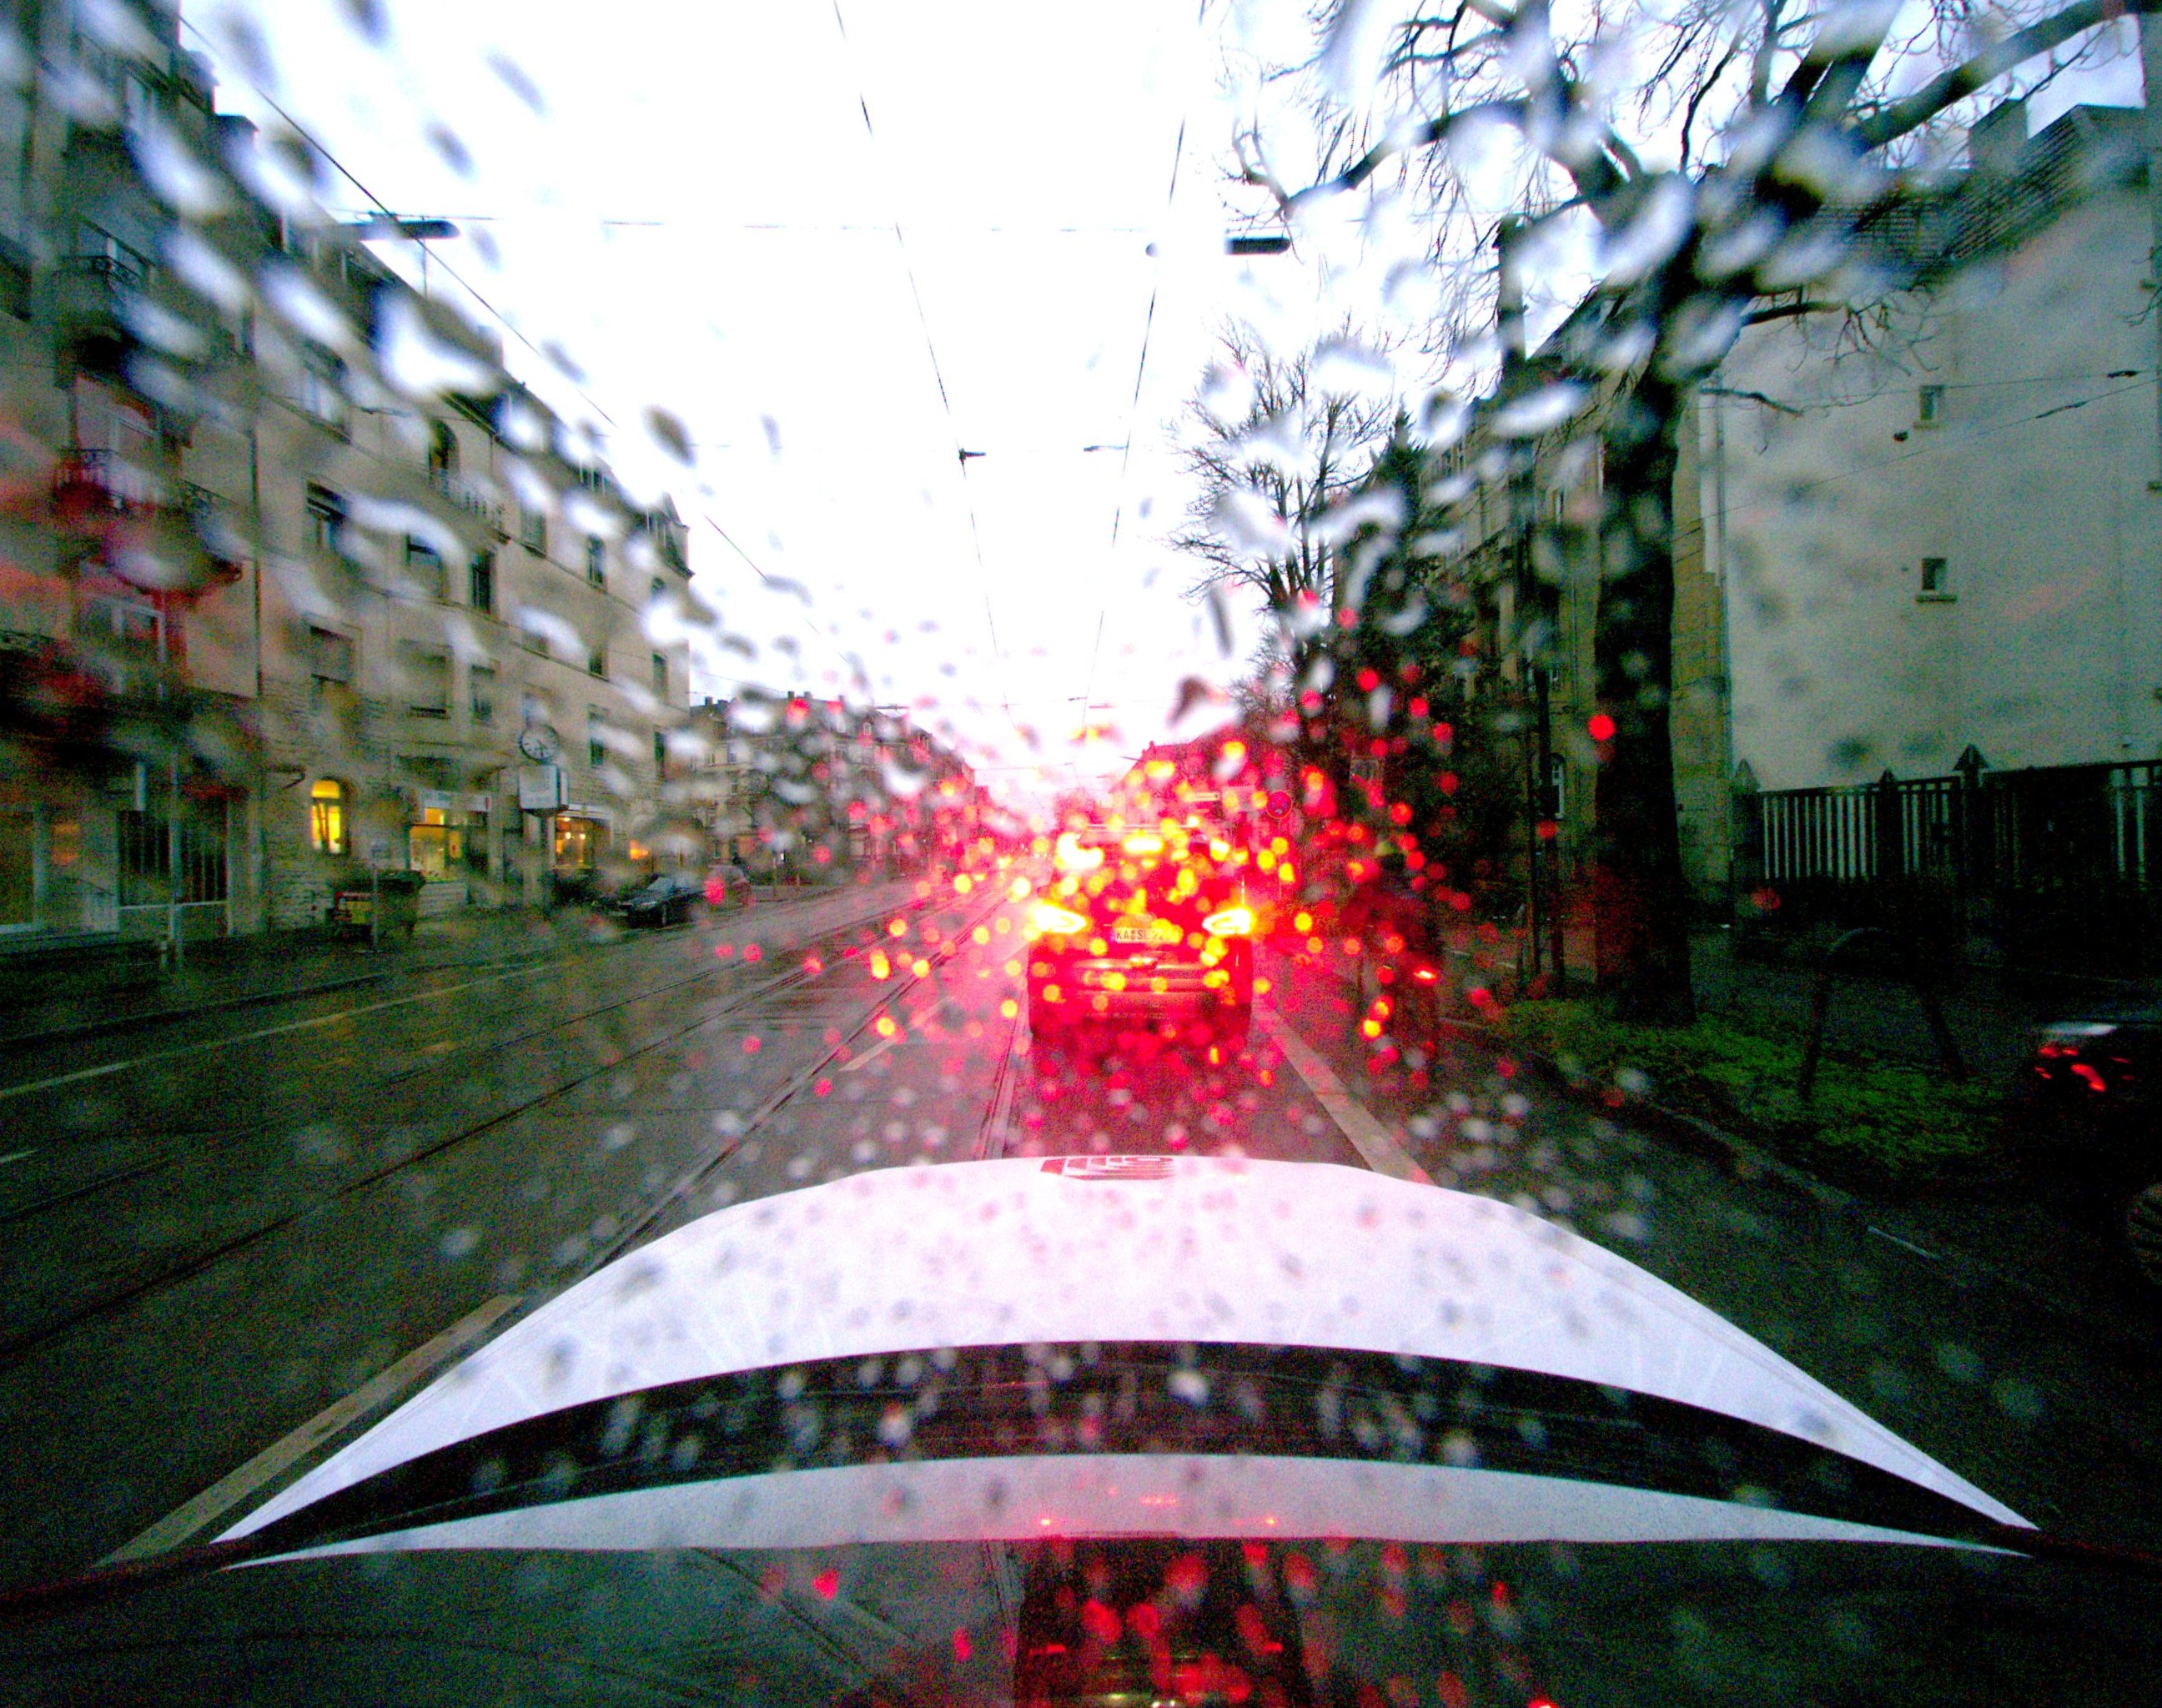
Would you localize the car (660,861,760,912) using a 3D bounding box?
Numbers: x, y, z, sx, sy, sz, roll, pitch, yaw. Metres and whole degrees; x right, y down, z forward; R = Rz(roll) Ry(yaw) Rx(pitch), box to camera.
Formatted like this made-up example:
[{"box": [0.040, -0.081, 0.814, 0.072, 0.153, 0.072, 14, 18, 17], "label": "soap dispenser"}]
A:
[{"box": [-13.146, 1.117, 29.134, 2.035, 1.551, 4.022, 2, 0, -7], "label": "car"}]

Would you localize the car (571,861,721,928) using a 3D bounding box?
[{"box": [-12.307, 1.085, 23.448, 1.982, 1.645, 4.624, 3, -1, -4], "label": "car"}]

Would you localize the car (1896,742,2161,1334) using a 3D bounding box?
[{"box": [4.457, 0.555, 0.907, 2.025, 1.875, 4.960, -2, 0, -2], "label": "car"}]

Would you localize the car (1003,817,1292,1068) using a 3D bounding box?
[{"box": [0.517, 0.638, 8.268, 2.096, 1.816, 4.661, 0, 0, 1], "label": "car"}]

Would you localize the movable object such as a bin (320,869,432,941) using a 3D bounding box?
[{"box": [-14.948, 1.058, 17.316, 1.264, 1.420, 1.249, -1, 0, -1], "label": "movable object such as a bin"}]

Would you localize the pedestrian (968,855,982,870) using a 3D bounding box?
[{"box": [-9.034, 0.711, 69.274, 1.044, 1.200, 0.884, -1, -1, -1], "label": "pedestrian"}]

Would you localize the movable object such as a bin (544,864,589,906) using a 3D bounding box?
[{"box": [-17.664, 1.044, 27.983, 0.896, 1.377, 1.006, -1, 0, -2], "label": "movable object such as a bin"}]

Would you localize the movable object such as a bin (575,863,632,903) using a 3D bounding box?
[{"box": [-17.128, 1.025, 29.266, 1.290, 1.367, 1.251, -1, 0, -2], "label": "movable object such as a bin"}]

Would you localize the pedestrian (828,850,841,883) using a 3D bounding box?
[{"box": [-15.532, 0.781, 51.393, 0.707, 2.013, 0.656, -1, 0, -21], "label": "pedestrian"}]

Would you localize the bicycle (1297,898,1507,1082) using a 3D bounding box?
[{"box": [2.439, 0.978, 6.492, 0.716, 1.112, 1.937, 3, 0, -6], "label": "bicycle"}]

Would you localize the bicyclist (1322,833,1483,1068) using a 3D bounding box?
[{"box": [2.462, 0.694, 6.349, 0.716, 1.662, 1.054, 2, 0, -6], "label": "bicyclist"}]

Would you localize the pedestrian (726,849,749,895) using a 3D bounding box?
[{"box": [-15.350, 0.801, 36.400, 0.748, 2.014, 0.652, -1, -1, 34], "label": "pedestrian"}]
